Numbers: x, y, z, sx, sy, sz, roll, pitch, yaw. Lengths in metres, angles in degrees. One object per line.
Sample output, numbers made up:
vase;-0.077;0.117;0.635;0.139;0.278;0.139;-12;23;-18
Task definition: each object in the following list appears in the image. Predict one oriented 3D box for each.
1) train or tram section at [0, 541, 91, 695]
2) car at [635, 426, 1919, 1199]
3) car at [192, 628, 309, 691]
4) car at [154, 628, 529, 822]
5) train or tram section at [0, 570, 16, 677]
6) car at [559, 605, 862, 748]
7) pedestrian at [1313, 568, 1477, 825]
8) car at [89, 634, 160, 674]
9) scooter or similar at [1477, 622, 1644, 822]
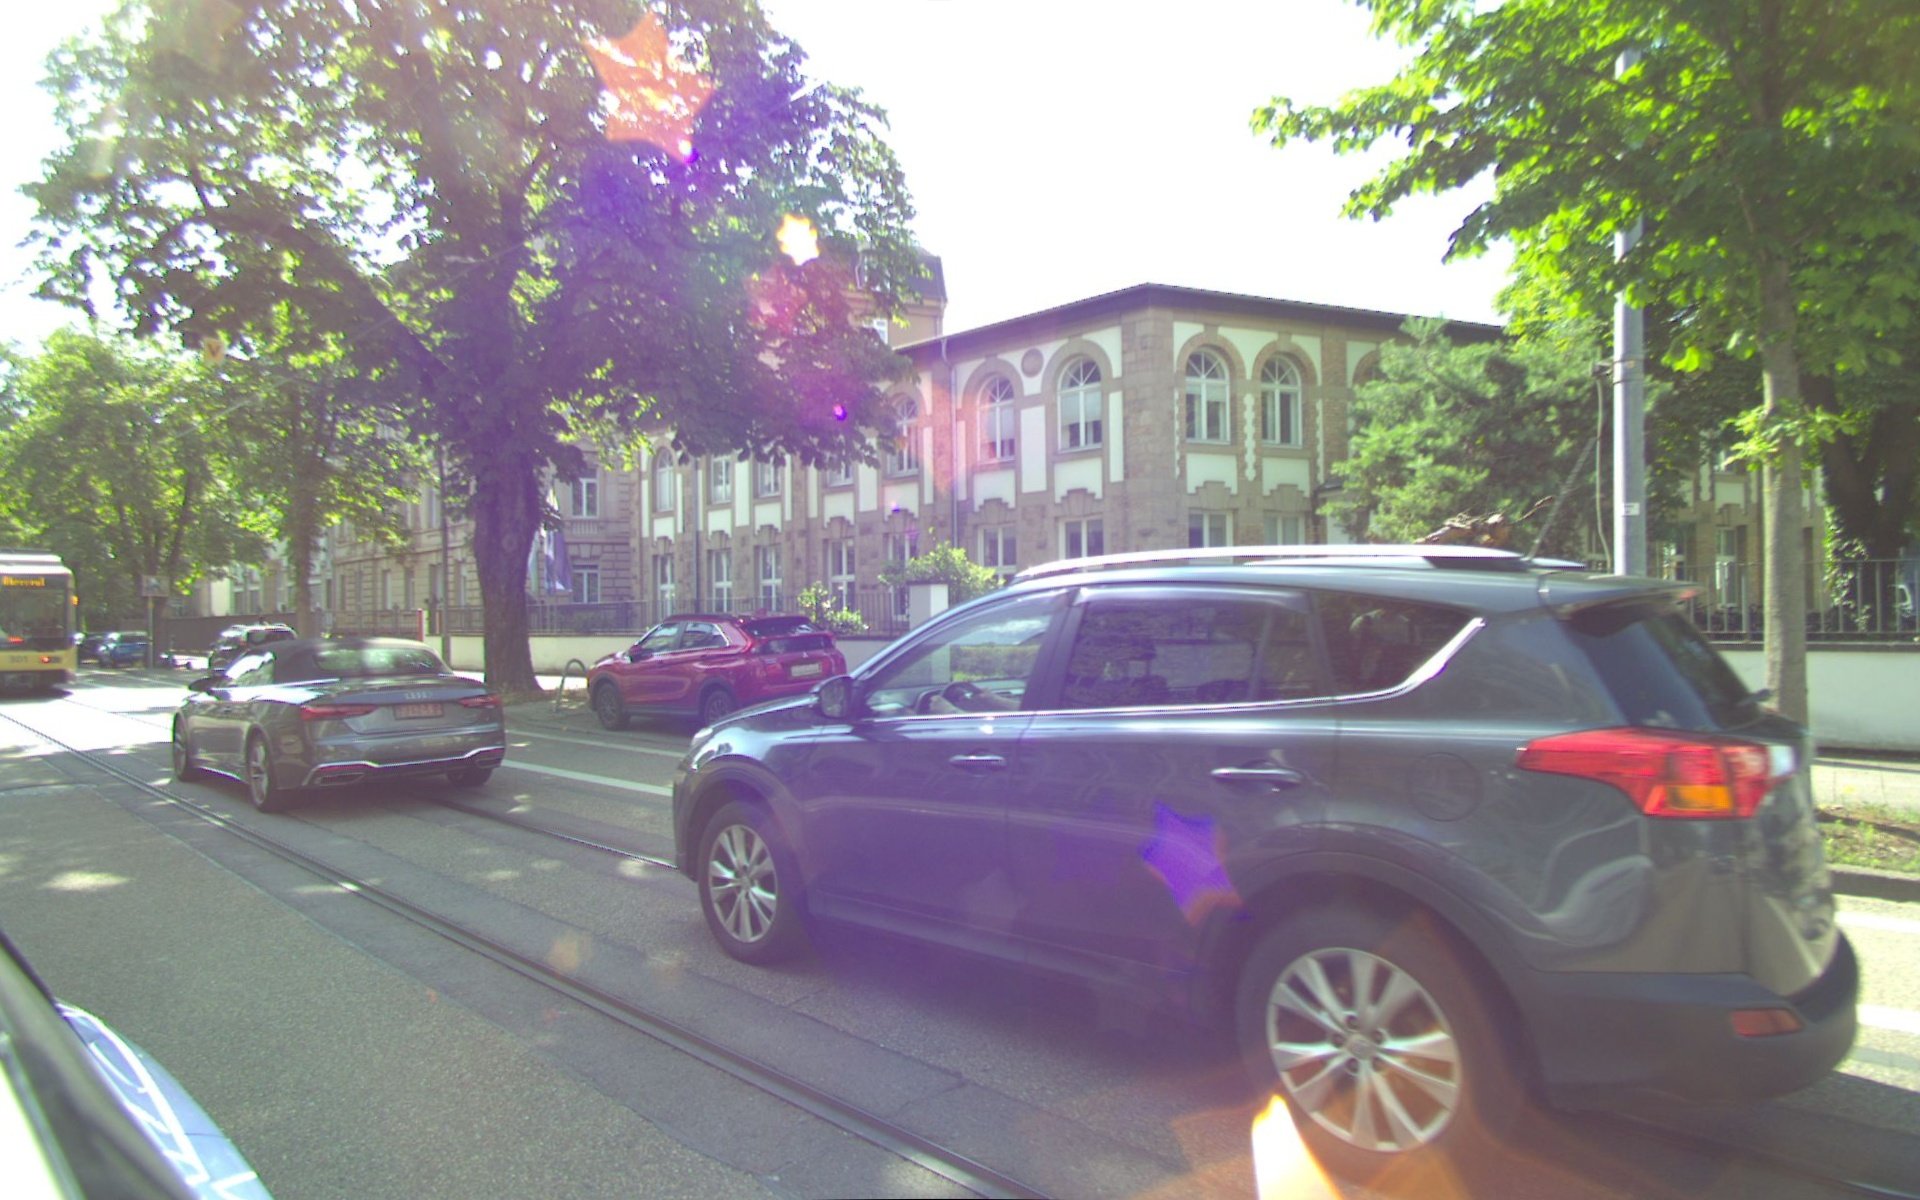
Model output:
train or tram section;-26.325;0.537;27.142;14.103;3.382;2.624;-1;-3;42
car;0.748;0.592;3.908;4.389;1.740;1.806;-2;0;42
car;-20.954;1.678;29.828;4.329;1.653;1.788;-1;0;41
car;-5.967;0.988;9.532;4.423;1.399;1.780;-2;-2;41
train or tram section;-35.789;0.818;35.579;11.468;3.415;2.624;-1;-3;42
car;-3.664;0.966;14.336;4.717;1.678;1.732;-1;0;41
pedestrian;3.239;0.673;7.579;0.740;1.780;0.793;-2;0;-26
car;-34.729;2.204;42.038;3.806;1.496;1.637;-1;1;41
scooter or similar;4.495;0.834;7.546;0.854;1.289;1.325;-2;0;40
